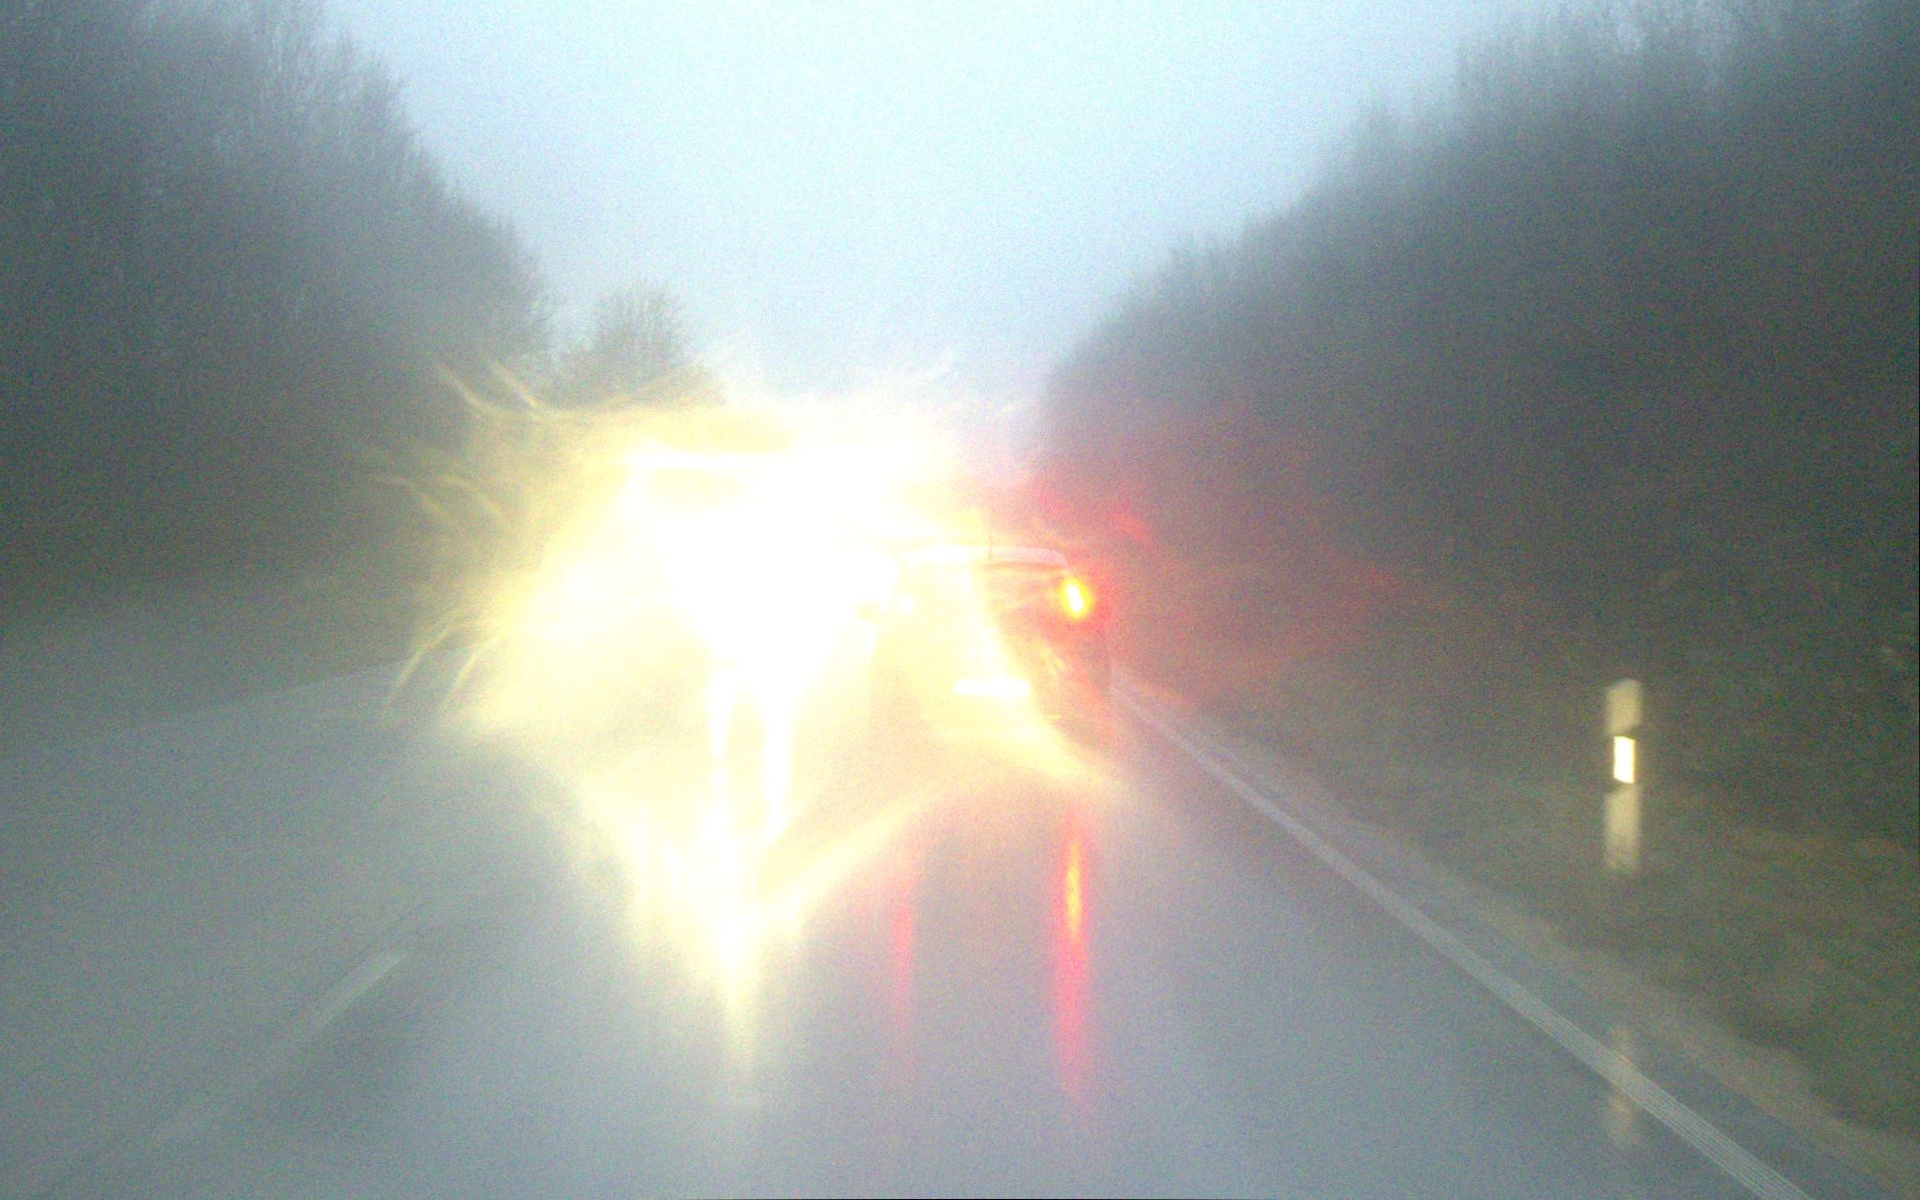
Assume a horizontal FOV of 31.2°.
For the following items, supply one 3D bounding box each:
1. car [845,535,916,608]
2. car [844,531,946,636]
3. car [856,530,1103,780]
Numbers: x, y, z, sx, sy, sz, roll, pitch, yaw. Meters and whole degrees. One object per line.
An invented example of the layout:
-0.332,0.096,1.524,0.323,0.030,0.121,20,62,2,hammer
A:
-1.972,-0.724,85.684,1.733,1.773,4.000,0,1,-1,car
-1.152,-0.313,60.902,1.733,1.773,4.000,0,1,-1,car
0.163,0.344,24.828,1.648,1.666,3.514,0,1,1,car
